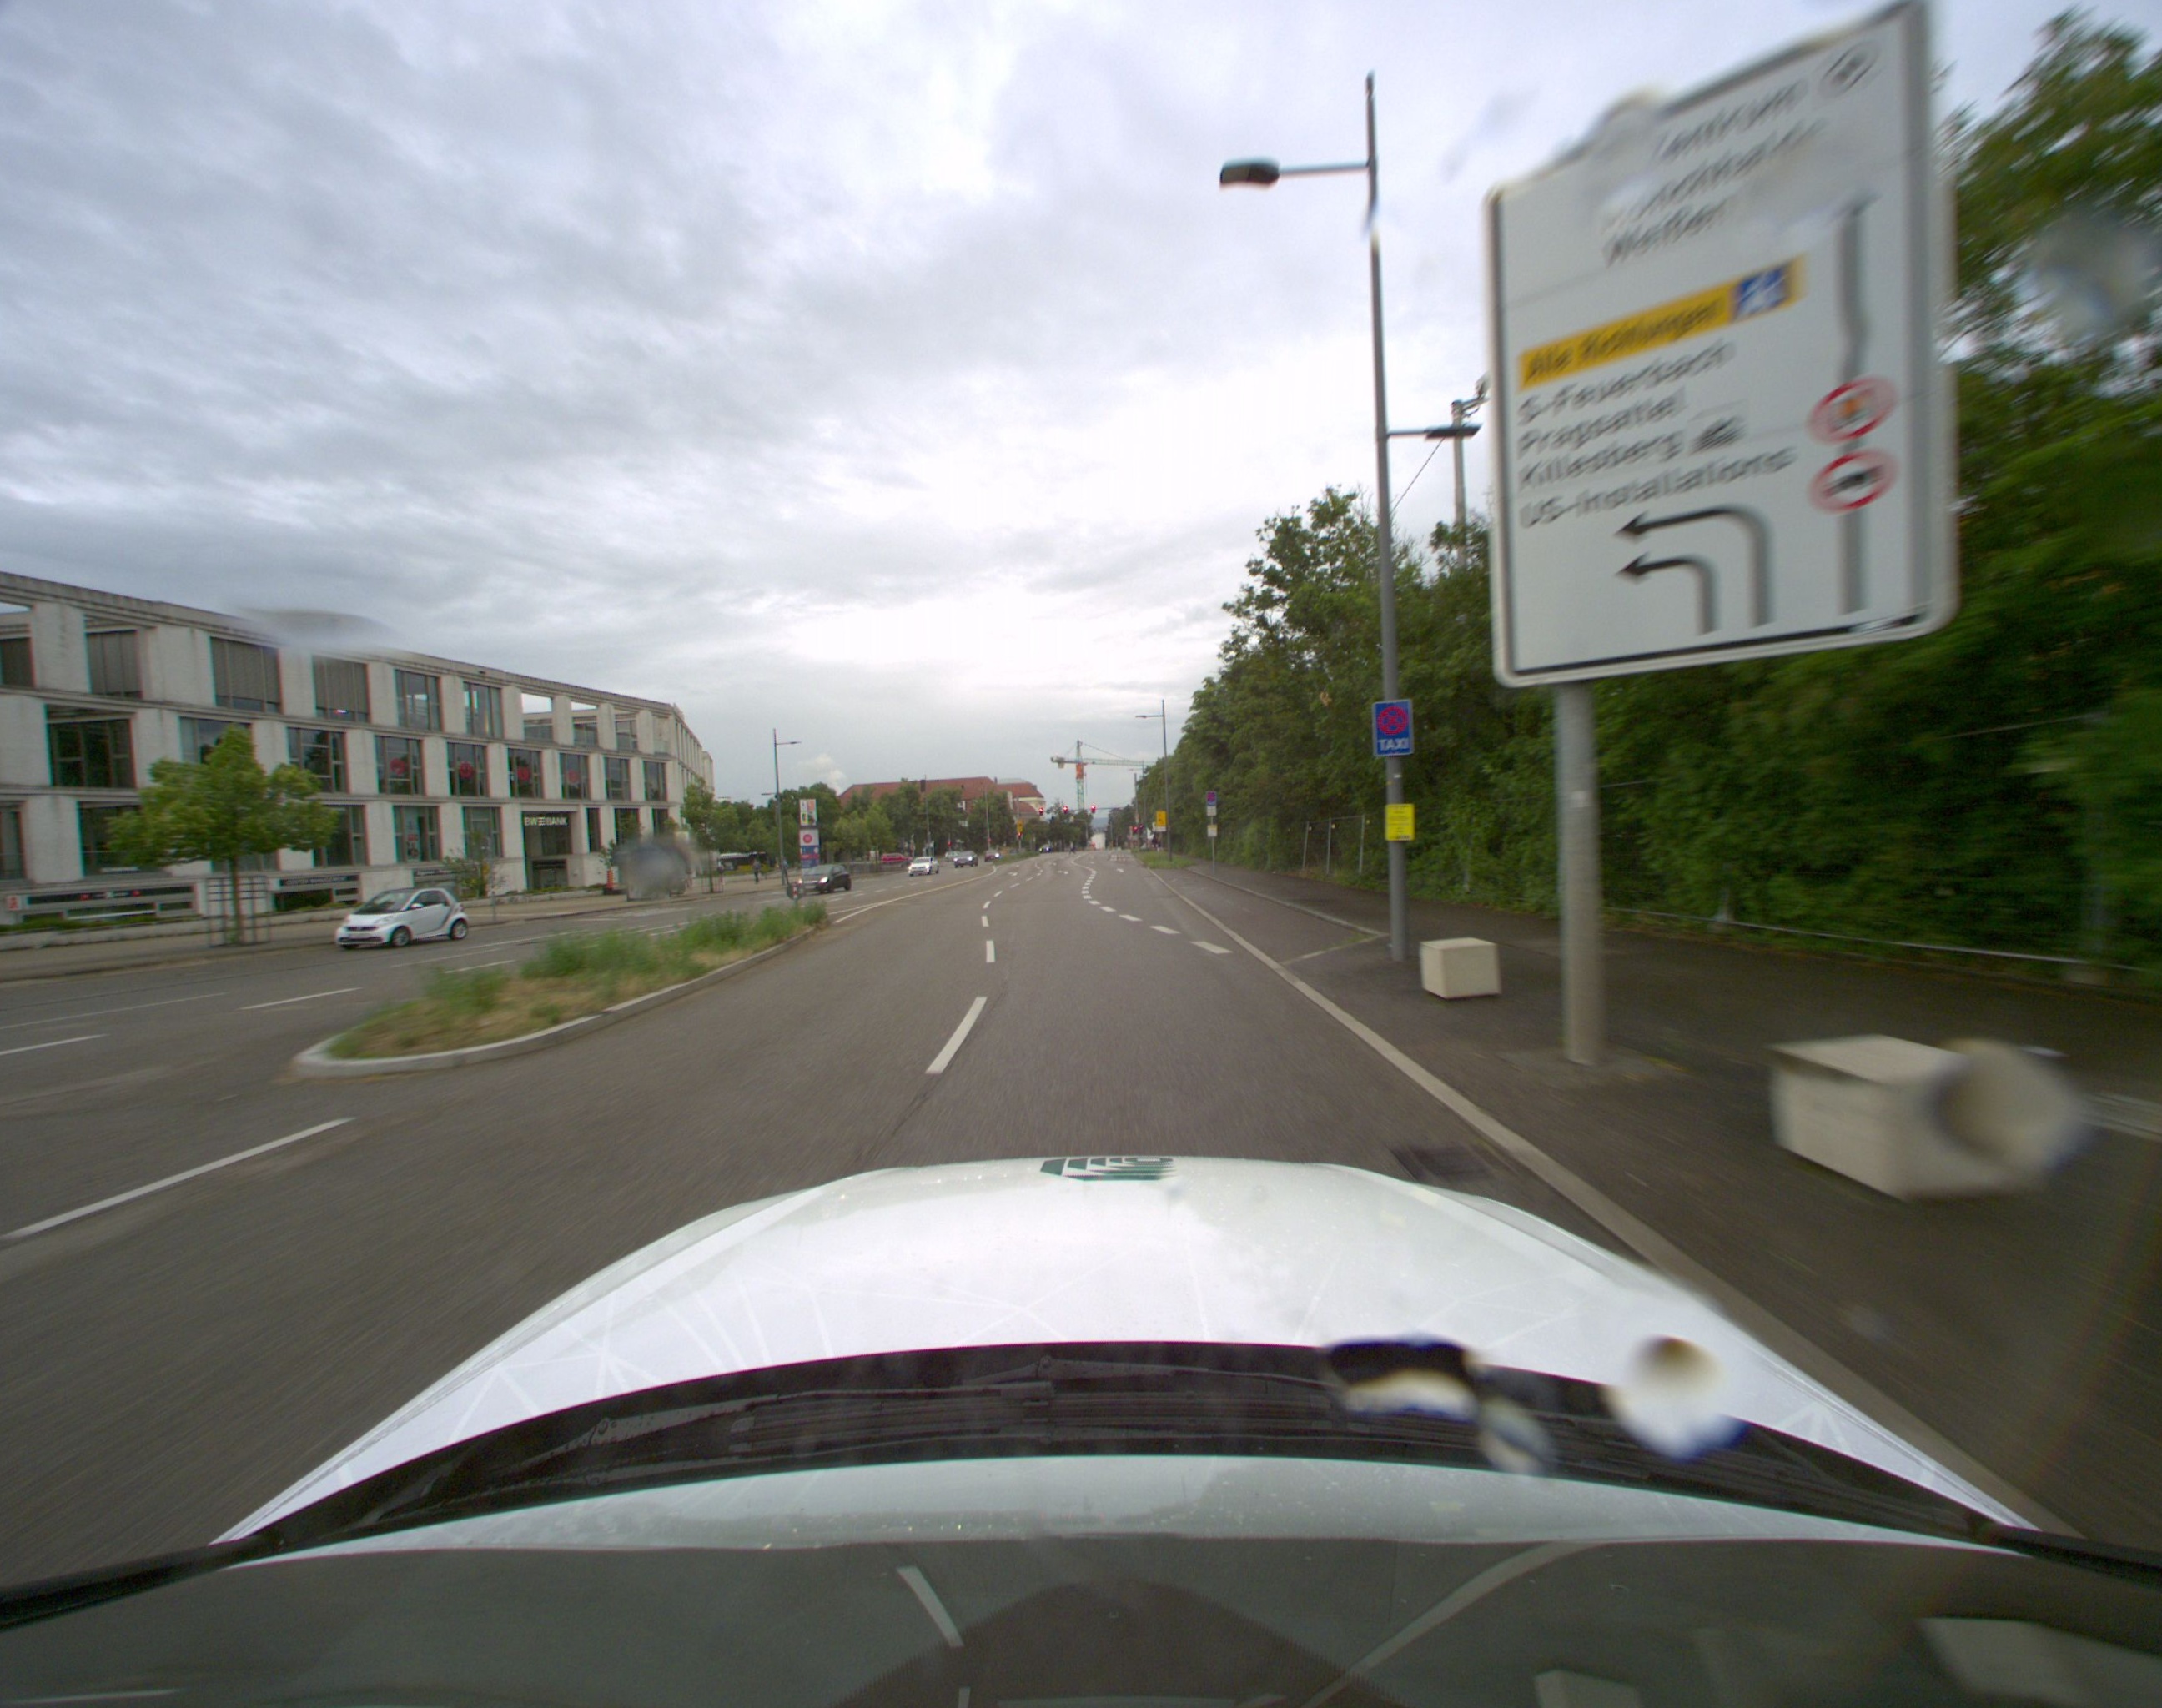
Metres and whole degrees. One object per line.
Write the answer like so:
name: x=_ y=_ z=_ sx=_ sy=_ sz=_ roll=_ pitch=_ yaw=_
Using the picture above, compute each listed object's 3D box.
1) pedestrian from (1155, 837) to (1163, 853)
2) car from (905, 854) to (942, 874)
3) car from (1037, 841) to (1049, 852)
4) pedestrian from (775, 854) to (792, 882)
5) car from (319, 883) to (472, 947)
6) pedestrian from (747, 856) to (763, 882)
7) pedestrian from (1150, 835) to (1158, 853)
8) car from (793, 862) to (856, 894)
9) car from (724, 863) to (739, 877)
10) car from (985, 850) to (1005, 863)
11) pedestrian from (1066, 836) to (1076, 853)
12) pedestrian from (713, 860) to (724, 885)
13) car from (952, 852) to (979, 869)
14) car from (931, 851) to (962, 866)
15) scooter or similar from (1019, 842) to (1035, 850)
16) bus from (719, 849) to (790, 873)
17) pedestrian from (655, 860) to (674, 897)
pedestrian: x=8.027 y=-0.945 z=83.579 sx=0.674 sy=1.657 sz=0.792 roll=-3 pitch=1 yaw=-3
car: x=-12.736 y=0.778 z=66.065 sx=1.866 sy=1.429 sz=4.178 roll=-5 pitch=0 yaw=2
car: x=-6.911 y=-1.354 z=147.947 sx=1.987 sy=1.838 sz=3.999 roll=-1 pitch=-1 yaw=0
pedestrian: x=-19.835 y=0.936 z=54.328 sx=0.749 sy=1.842 sz=0.747 roll=-3 pitch=0 yaw=4
car: x=-18.787 y=1.636 z=22.485 sx=1.607 sy=1.508 sz=2.974 roll=-1 pitch=0 yaw=2
pedestrian: x=-22.865 y=1.023 z=57.106 sx=0.595 sy=1.762 sz=0.858 roll=-3 pitch=0 yaw=4
pedestrian: x=7.865 y=-1.078 z=88.064 sx=0.639 sy=1.900 sz=0.717 roll=-3 pitch=1 yaw=-3
car: x=-13.383 y=1.210 z=42.657 sx=1.839 sy=1.462 sz=3.869 roll=-4 pitch=0 yaw=2
car: x=-48.180 y=2.201 z=112.225 sx=1.782 sy=1.731 sz=3.966 roll=-3 pitch=1 yaw=-26
car: x=-11.063 y=0.345 z=105.132 sx=1.824 sy=1.416 sz=4.468 roll=-5 pitch=1 yaw=2
pedestrian: x=-1.274 y=-1.190 z=100.905 sx=0.935 sy=2.013 sz=0.849 roll=-6 pitch=0 yaw=8
pedestrian: x=-25.009 y=1.255 z=56.197 sx=0.498 sy=1.690 sz=0.911 roll=-3 pitch=0 yaw=-14
car: x=-11.892 y=0.669 z=84.110 sx=1.824 sy=1.572 sz=4.596 roll=-5 pitch=0 yaw=2
car: x=-19.531 y=0.617 z=118.547 sx=3.951 sy=1.917 sz=2.012 roll=-3 pitch=0 yaw=24
scooter or similar: x=-10.647 y=-1.659 z=161.392 sx=3.077 sy=1.440 sz=0.949 roll=-3 pitch=1 yaw=0
bus: x=-49.621 y=1.048 z=123.860 sx=9.676 sy=3.103 sz=2.903 roll=-3 pitch=1 yaw=6
pedestrian: x=-20.984 y=1.232 z=41.040 sx=0.505 sy=1.842 sz=0.756 roll=-3 pitch=0 yaw=1
